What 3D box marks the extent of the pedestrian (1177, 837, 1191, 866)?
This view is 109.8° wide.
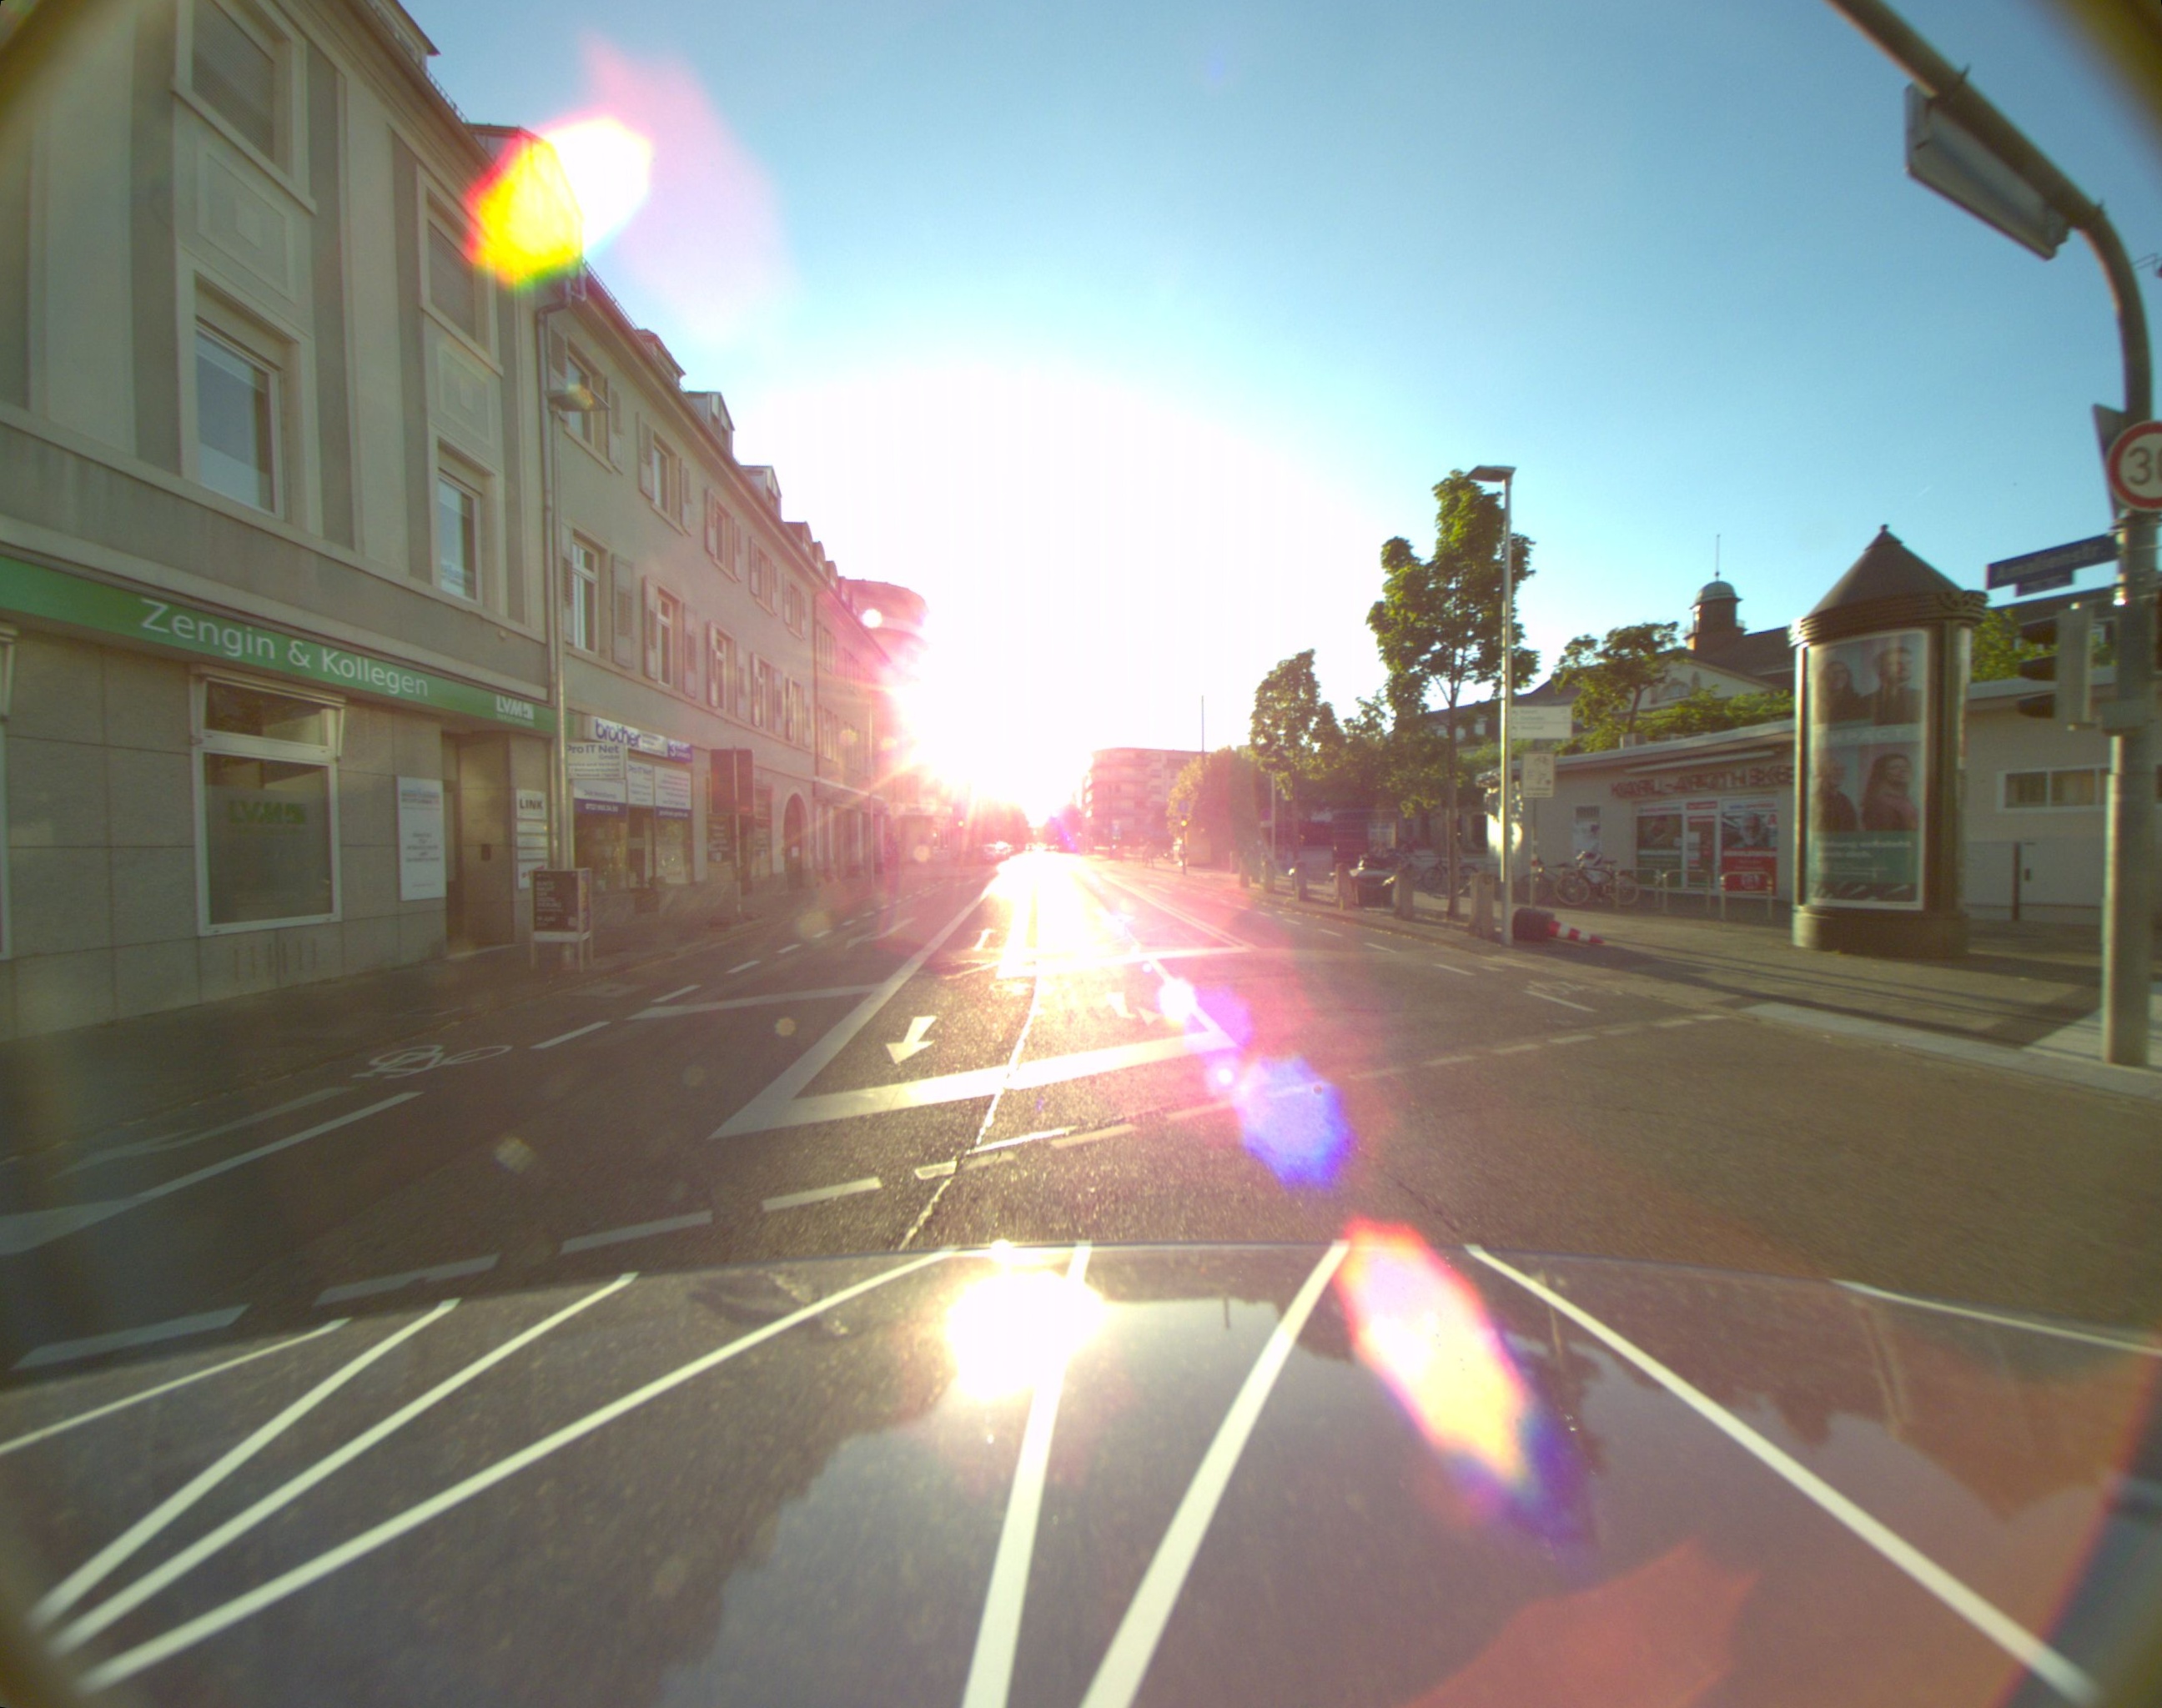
[{"bbox_3d":[6.189,-0.150,45.724,0.778,1.667,0.907,-2,2,4],"label":"pedestrian"}]

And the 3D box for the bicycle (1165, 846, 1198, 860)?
[{"bbox_3d":[7.432,-0.066,56.144,2.399,0.954,0.672,-2,2,4],"label":"bicycle"}]

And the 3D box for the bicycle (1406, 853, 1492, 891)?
[{"bbox_3d":[10.926,0.519,22.573,2.181,1.081,0.779,0,2,-3],"label":"bicycle"}]

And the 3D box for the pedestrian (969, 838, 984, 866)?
[{"bbox_3d":[-6.473,-0.136,47.172,0.842,1.736,0.700,-2,2,-4],"label":"pedestrian"}]

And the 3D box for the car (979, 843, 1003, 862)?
[{"bbox_3d":[-8.189,-0.181,69.464,1.999,1.539,4.506,-2,2,-5],"label":"car"}]

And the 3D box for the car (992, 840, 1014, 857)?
[{"bbox_3d":[-8.284,-0.588,80.762,1.999,1.638,4.507,-2,2,-2],"label":"car"}]

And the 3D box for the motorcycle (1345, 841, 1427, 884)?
[{"bbox_3d":[10.331,0.272,25.781,2.450,1.358,0.779,-2,1,2],"label":"motorcycle"}]

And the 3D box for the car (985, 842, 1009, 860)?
[{"bbox_3d":[-8.218,-0.307,74.921,1.999,1.539,4.507,-2,2,-3],"label":"car"}]

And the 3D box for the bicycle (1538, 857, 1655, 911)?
[{"bbox_3d":[11.293,0.637,16.671,2.197,1.081,0.778,-1,2,-10],"label":"bicycle"}]

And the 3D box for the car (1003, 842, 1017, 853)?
[{"bbox_3d":[-10.659,-0.982,114.467,1.999,1.539,4.506,-2,2,-5],"label":"car"}]

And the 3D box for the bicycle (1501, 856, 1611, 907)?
[{"bbox_3d":[11.112,0.618,17.782,2.222,1.081,0.778,-1,2,-10],"label":"bicycle"}]

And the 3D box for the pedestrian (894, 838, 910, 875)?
[{"bbox_3d":[-8.743,0.095,37.126,0.673,1.775,0.720,1,3,-20],"label":"pedestrian"}]

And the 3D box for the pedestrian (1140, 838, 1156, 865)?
[{"bbox_3d":[4.316,-0.165,49.059,0.905,1.667,0.780,-1,2,8],"label":"pedestrian"}]

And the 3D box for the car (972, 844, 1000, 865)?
[{"bbox_3d":[-7.830,0.008,62.951,1.999,1.539,4.506,-2,2,-5],"label":"car"}]

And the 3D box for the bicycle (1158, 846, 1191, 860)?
[{"bbox_3d":[7.030,-0.077,57.253,2.399,0.954,0.672,-2,2,4],"label":"bicycle"}]

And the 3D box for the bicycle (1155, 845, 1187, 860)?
[{"bbox_3d":[6.972,-0.139,58.897,2.399,1.065,0.672,-2,2,4],"label":"bicycle"}]
